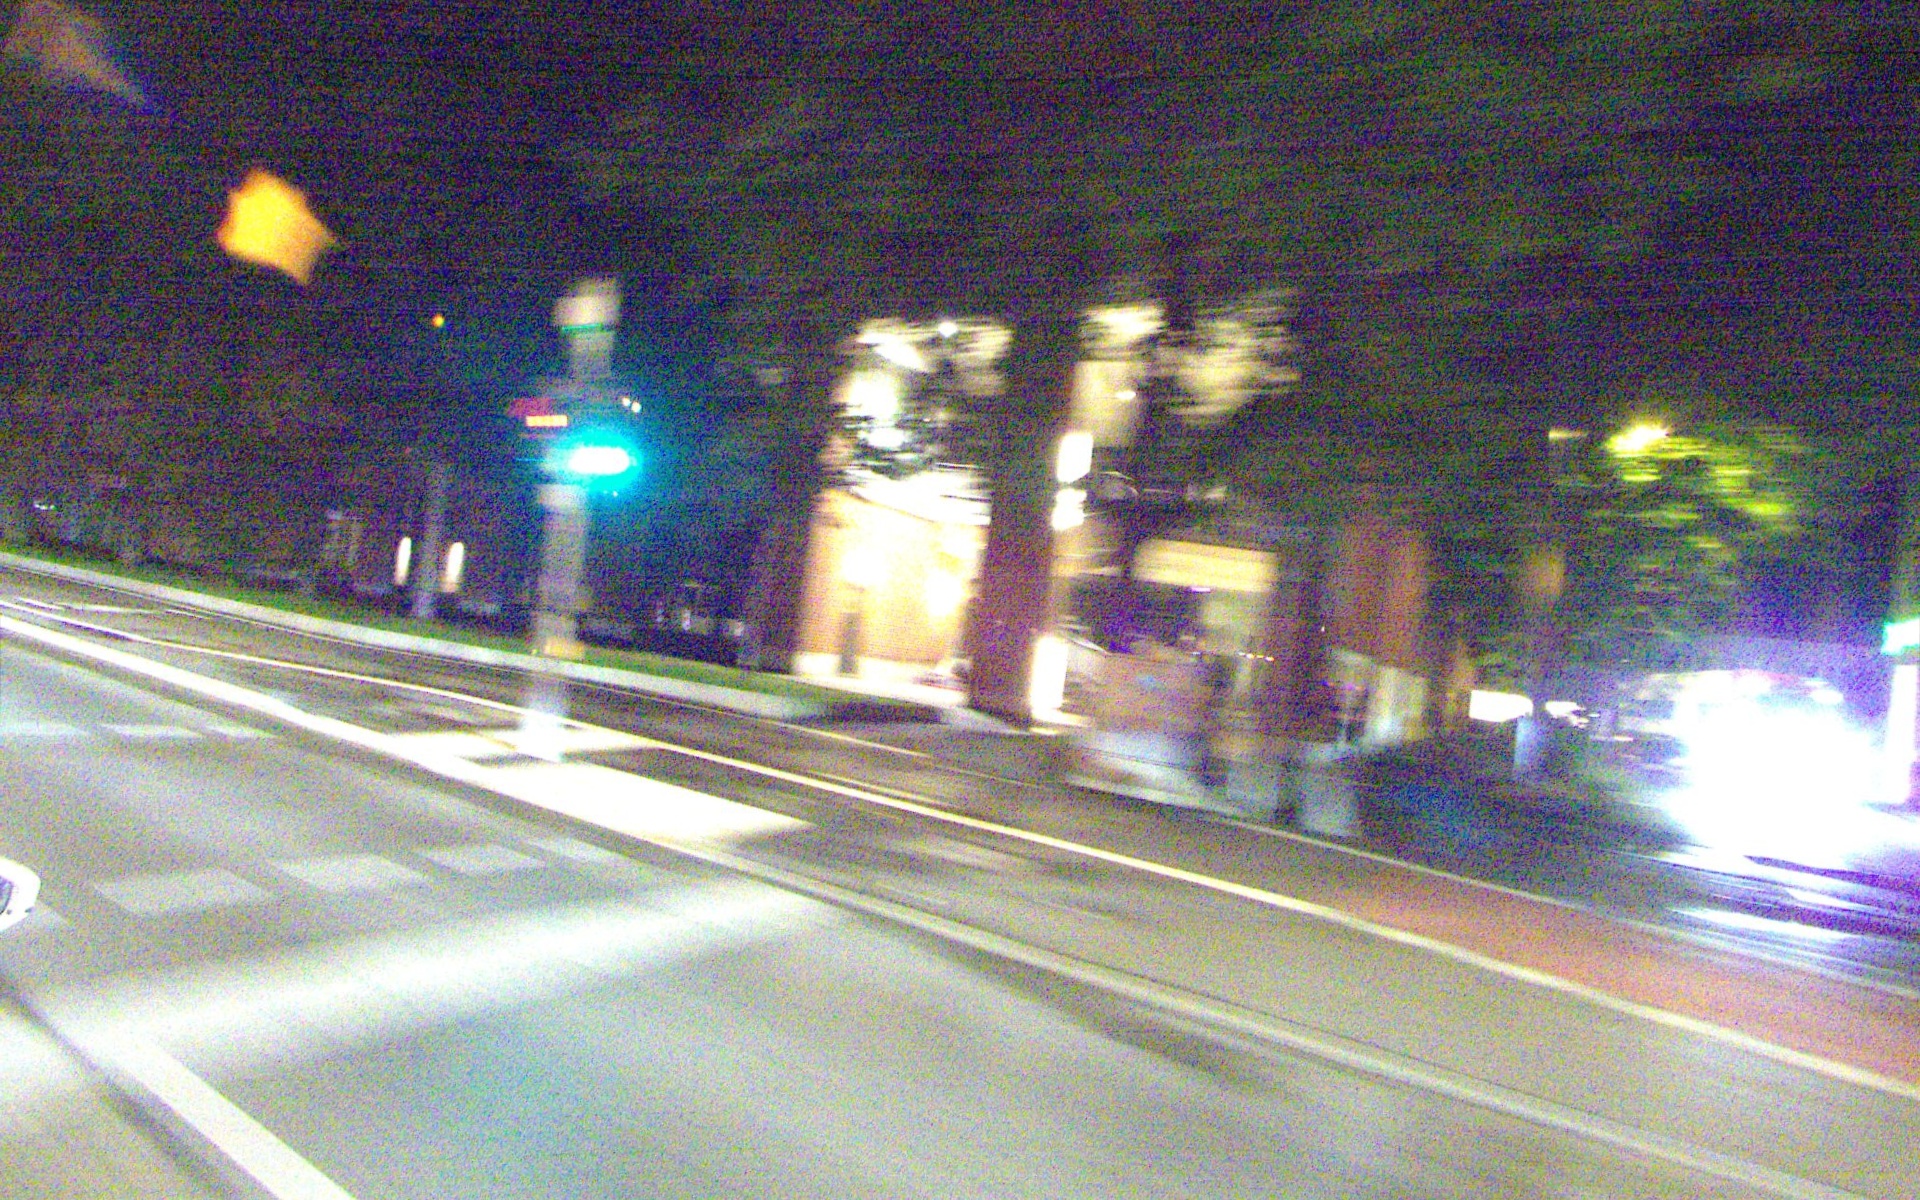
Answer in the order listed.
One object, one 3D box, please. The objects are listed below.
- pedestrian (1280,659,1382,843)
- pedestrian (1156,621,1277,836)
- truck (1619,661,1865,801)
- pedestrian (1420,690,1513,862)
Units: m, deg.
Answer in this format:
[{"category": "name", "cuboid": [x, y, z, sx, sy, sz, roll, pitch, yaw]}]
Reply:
[{"category": "pedestrian", "cuboid": [3.650, 1.453, 9.891, 0.668, 1.658, 0.622, 6, -1, 32]}, {"category": "pedestrian", "cuboid": [2.386, 1.166, 9.332, 0.746, 1.833, 0.622, 6, -1, 32]}, {"category": "truck", "cuboid": [29.953, 4.745, 39.852, 3.075, 4.030, 16.835, 6, -2, 23]}, {"category": "pedestrian", "cuboid": [4.993, 1.704, 9.913, 0.623, 1.552, 0.573, 6, -1, 32]}]
